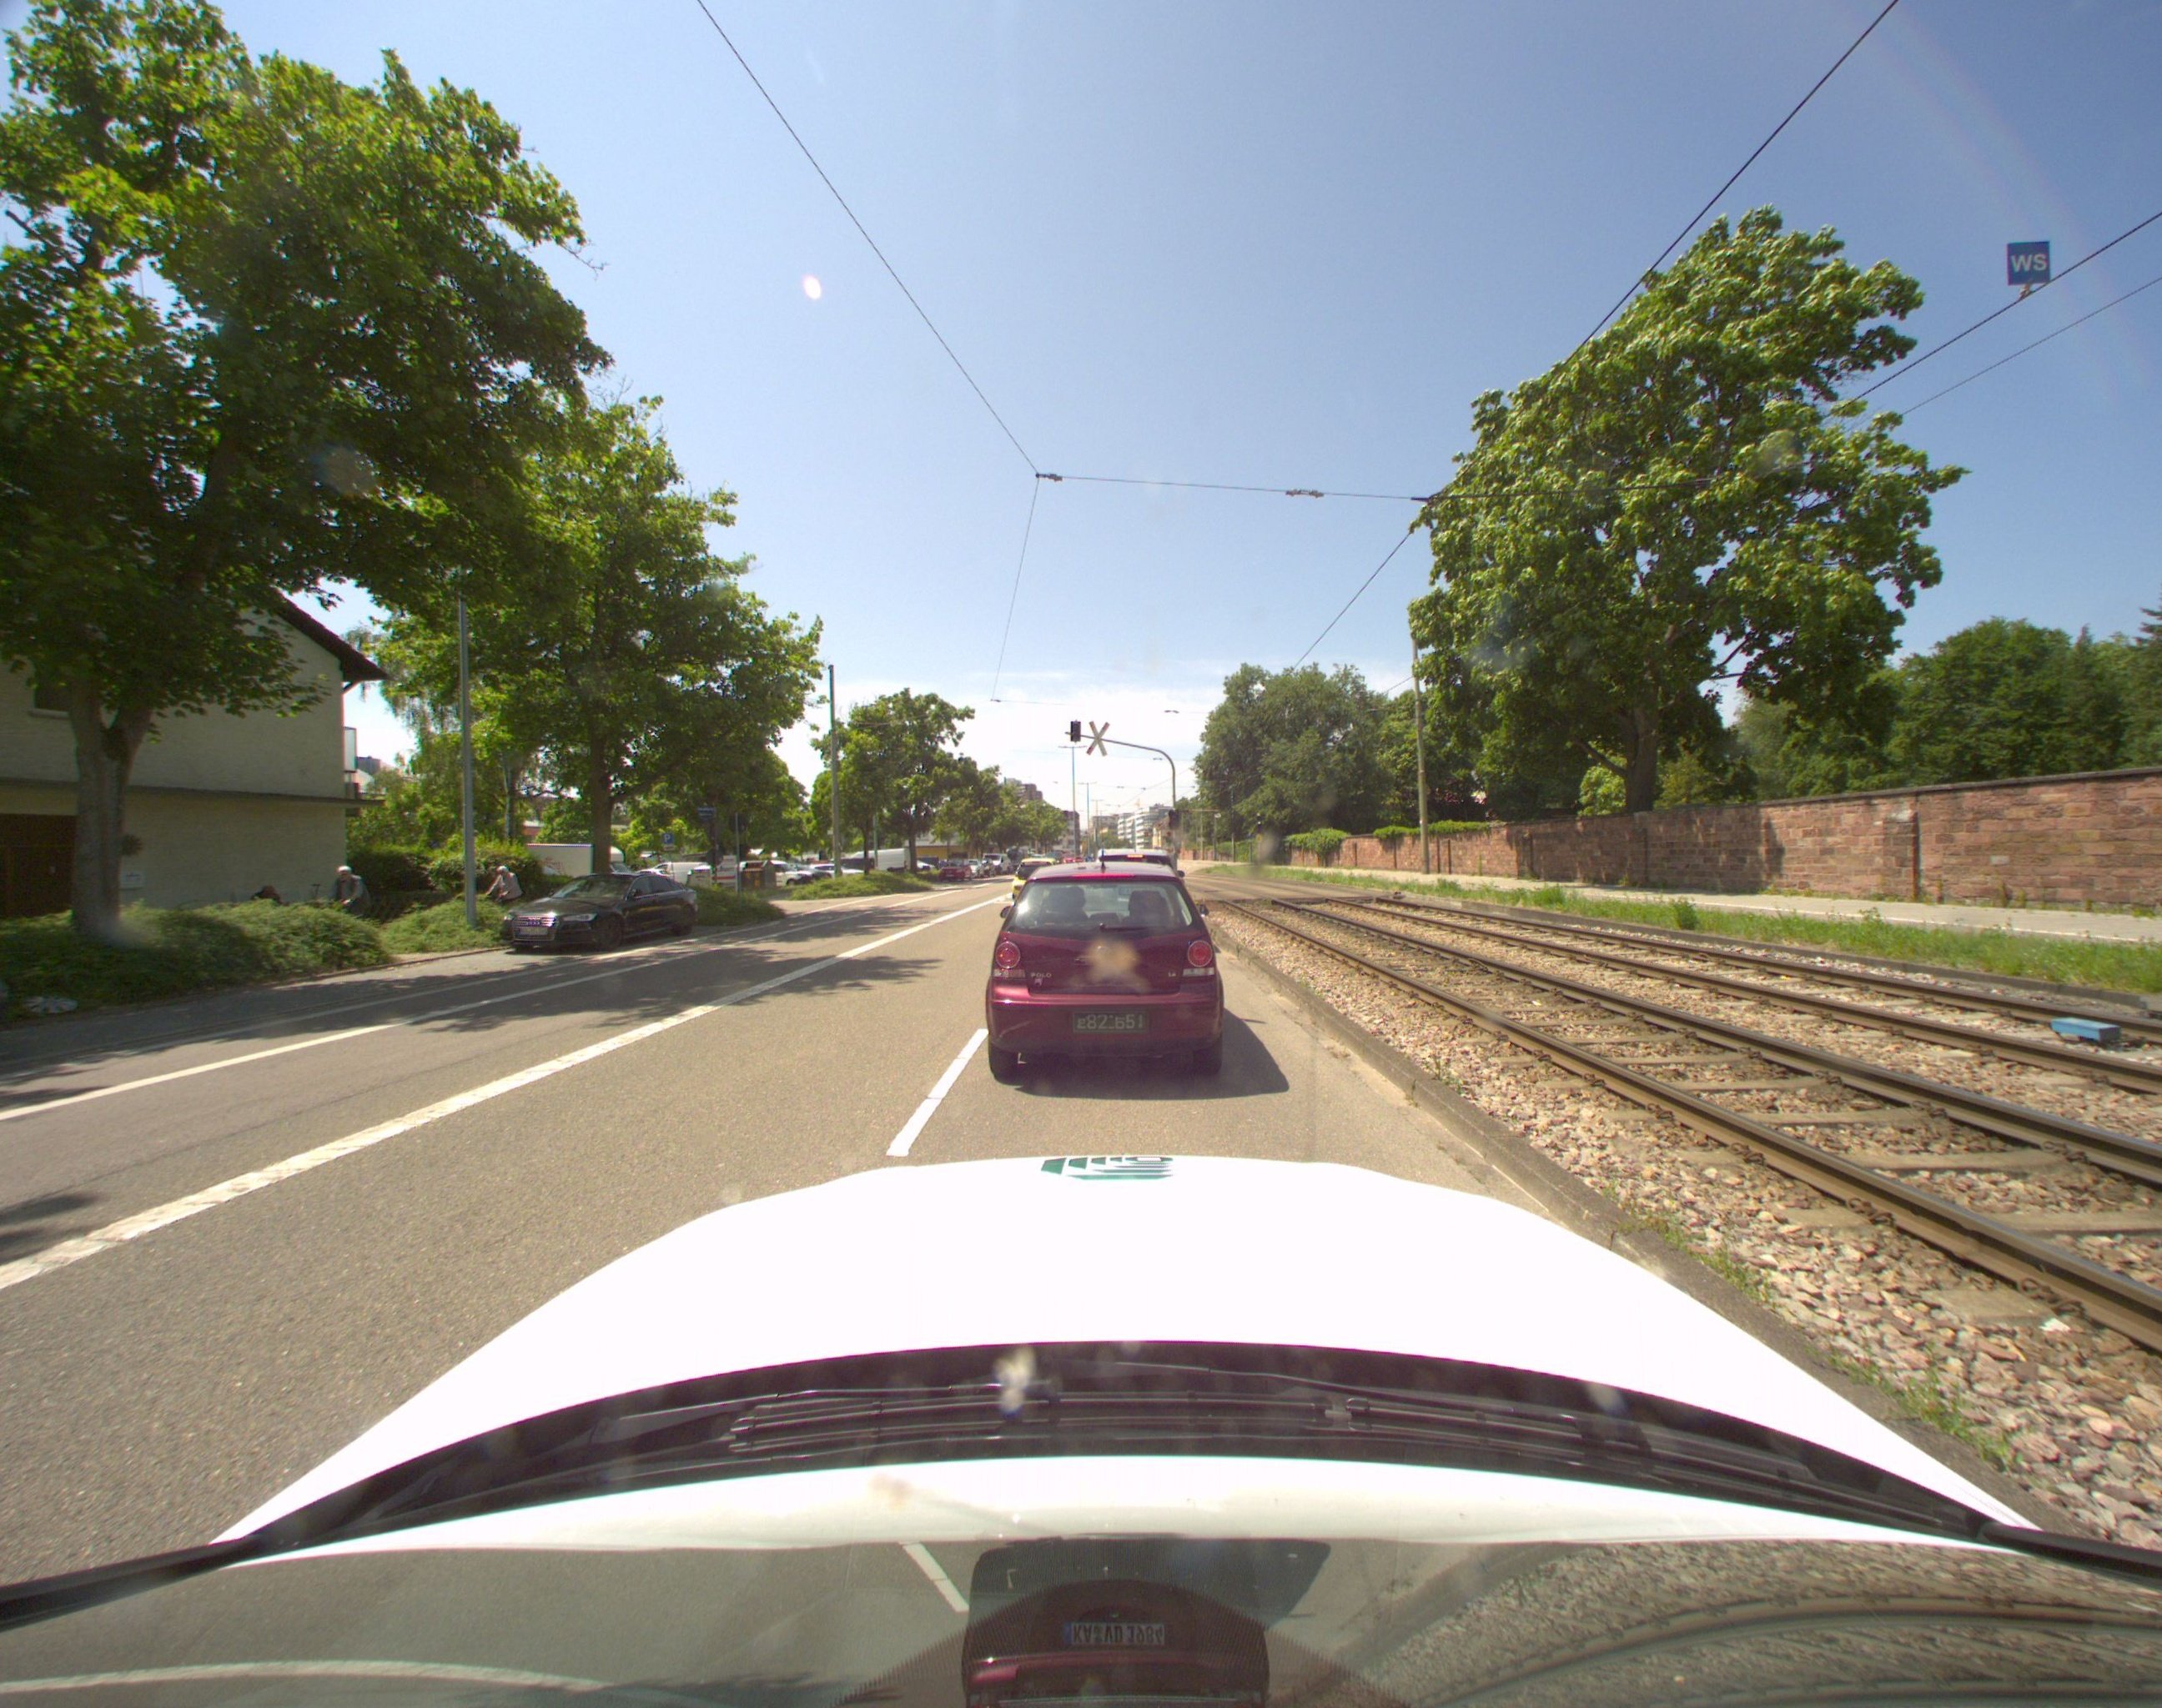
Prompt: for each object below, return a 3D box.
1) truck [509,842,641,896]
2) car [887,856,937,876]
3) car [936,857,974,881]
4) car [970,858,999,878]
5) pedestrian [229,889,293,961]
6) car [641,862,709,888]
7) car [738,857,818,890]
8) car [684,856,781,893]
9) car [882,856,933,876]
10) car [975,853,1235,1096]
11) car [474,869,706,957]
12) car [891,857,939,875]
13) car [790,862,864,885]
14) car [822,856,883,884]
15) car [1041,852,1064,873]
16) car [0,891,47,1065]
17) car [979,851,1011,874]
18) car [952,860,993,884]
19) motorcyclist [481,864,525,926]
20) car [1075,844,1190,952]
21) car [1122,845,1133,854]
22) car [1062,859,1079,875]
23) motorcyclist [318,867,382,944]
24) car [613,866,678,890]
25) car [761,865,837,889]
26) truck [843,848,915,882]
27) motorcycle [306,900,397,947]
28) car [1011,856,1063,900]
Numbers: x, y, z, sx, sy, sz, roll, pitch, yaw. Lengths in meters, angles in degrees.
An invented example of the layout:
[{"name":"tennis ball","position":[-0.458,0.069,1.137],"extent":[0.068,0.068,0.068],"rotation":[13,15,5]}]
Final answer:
[{"name":"truck","position":[-31.976,0.929,51.640],"extent":[6.954,3.227,2.150],"rotation":[-1,0,0]},{"name":"car","position":[-17.479,1.246,84.531],"extent":[4.702,1.813,1.797],"rotation":[-2,0,0]},{"name":"car","position":[-8.340,0.969,54.328],"extent":[1.664,1.546,3.731],"rotation":[0,-1,4]},{"name":"car","position":[-7.818,1.087,66.124],"extent":[1.607,1.484,3.789],"rotation":[2,0,4]},{"name":"pedestrian","position":[-17.930,1.545,17.814],"extent":[0.789,1.510,0.610],"rotation":[-2,0,8]},{"name":"car","position":[-30.680,1.574,61.557],"extent":[4.112,1.820,1.971],"rotation":[-1,0,1]},{"name":"car","position":[-18.545,1.207,49.920],"extent":[4.247,1.835,1.675],"rotation":[-2,0,4]},{"name":"car","position":[-19.297,1.133,45.231],"extent":[4.437,1.857,2.059],"rotation":[-2,0,-3]},{"name":"car","position":[-17.525,1.239,82.349],"extent":[4.702,1.813,1.797],"rotation":[-2,0,0]},{"name":"car","position":[0.212,0.748,7.058],"extent":[1.603,1.498,4.002],"rotation":[0,0,2]},{"name":"car","position":[-9.800,1.087,16.839],"extent":[1.888,1.456,4.808],"rotation":[0,0,0]},{"name":"car","position":[-17.662,1.264,86.799],"extent":[4.702,1.813,1.797],"rotation":[-2,0,0]},{"name":"car","position":[-18.906,1.426,60.791],"extent":[4.745,1.488,2.058],"rotation":[-2,0,0]},{"name":"car","position":[-17.827,1.251,63.716],"extent":[4.195,1.995,1.857],"rotation":[-2,0,0]},{"name":"car","position":[-2.783,0.826,80.902],"extent":[1.911,1.910,4.573],"rotation":[-3,0,2]},{"name":"car","position":[-10.207,1.082,5.281],"extent":[1.670,1.486,4.130],"rotation":[0,0,2]},{"name":"car","position":[-7.489,0.740,71.508],"extent":[1.854,1.937,4.811],"rotation":[2,0,4]},{"name":"car","position":[-8.098,1.344,61.254],"extent":[1.710,1.427,4.781],"rotation":[-7,0,7]},{"name":"motorcyclist","position":[-14.551,1.023,20.499],"extent":[0.584,1.503,0.663],"rotation":[1,0,3]},{"name":"car","position":[0.869,0.686,14.753],"extent":[1.788,1.683,4.002],"rotation":[0,0,2]},{"name":"car","position":[10.378,-0.933,181.302],"extent":[1.914,1.910,4.566],"rotation":[-2,0,-3]},{"name":"car","position":[-1.348,1.616,106.067],"extent":[1.892,1.926,4.820],"rotation":[-3,0,1]},{"name":"motorcyclist","position":[-14.753,1.027,16.456],"extent":[0.584,1.503,0.726],"rotation":[1,0,3]},{"name":"car","position":[-31.691,1.746,59.283],"extent":[3.733,1.576,1.733],"rotation":[-1,0,1]},{"name":"car","position":[-18.341,1.471,53.074],"extent":[4.185,1.403,2.079],"rotation":[-2,0,-2]},{"name":"truck","position":[-17.746,0.929,71.762],"extent":[5.555,2.759,2.434],"rotation":[-2,0,3]},{"name":"motorcycle","position":[-14.742,1.389,16.501],"extent":[0.524,0.825,1.372],"rotation":[1,0,3]},{"name":"car","position":[-1.502,0.805,28.939],"extent":[1.545,1.448,3.413],"rotation":[0,0,2]}]
